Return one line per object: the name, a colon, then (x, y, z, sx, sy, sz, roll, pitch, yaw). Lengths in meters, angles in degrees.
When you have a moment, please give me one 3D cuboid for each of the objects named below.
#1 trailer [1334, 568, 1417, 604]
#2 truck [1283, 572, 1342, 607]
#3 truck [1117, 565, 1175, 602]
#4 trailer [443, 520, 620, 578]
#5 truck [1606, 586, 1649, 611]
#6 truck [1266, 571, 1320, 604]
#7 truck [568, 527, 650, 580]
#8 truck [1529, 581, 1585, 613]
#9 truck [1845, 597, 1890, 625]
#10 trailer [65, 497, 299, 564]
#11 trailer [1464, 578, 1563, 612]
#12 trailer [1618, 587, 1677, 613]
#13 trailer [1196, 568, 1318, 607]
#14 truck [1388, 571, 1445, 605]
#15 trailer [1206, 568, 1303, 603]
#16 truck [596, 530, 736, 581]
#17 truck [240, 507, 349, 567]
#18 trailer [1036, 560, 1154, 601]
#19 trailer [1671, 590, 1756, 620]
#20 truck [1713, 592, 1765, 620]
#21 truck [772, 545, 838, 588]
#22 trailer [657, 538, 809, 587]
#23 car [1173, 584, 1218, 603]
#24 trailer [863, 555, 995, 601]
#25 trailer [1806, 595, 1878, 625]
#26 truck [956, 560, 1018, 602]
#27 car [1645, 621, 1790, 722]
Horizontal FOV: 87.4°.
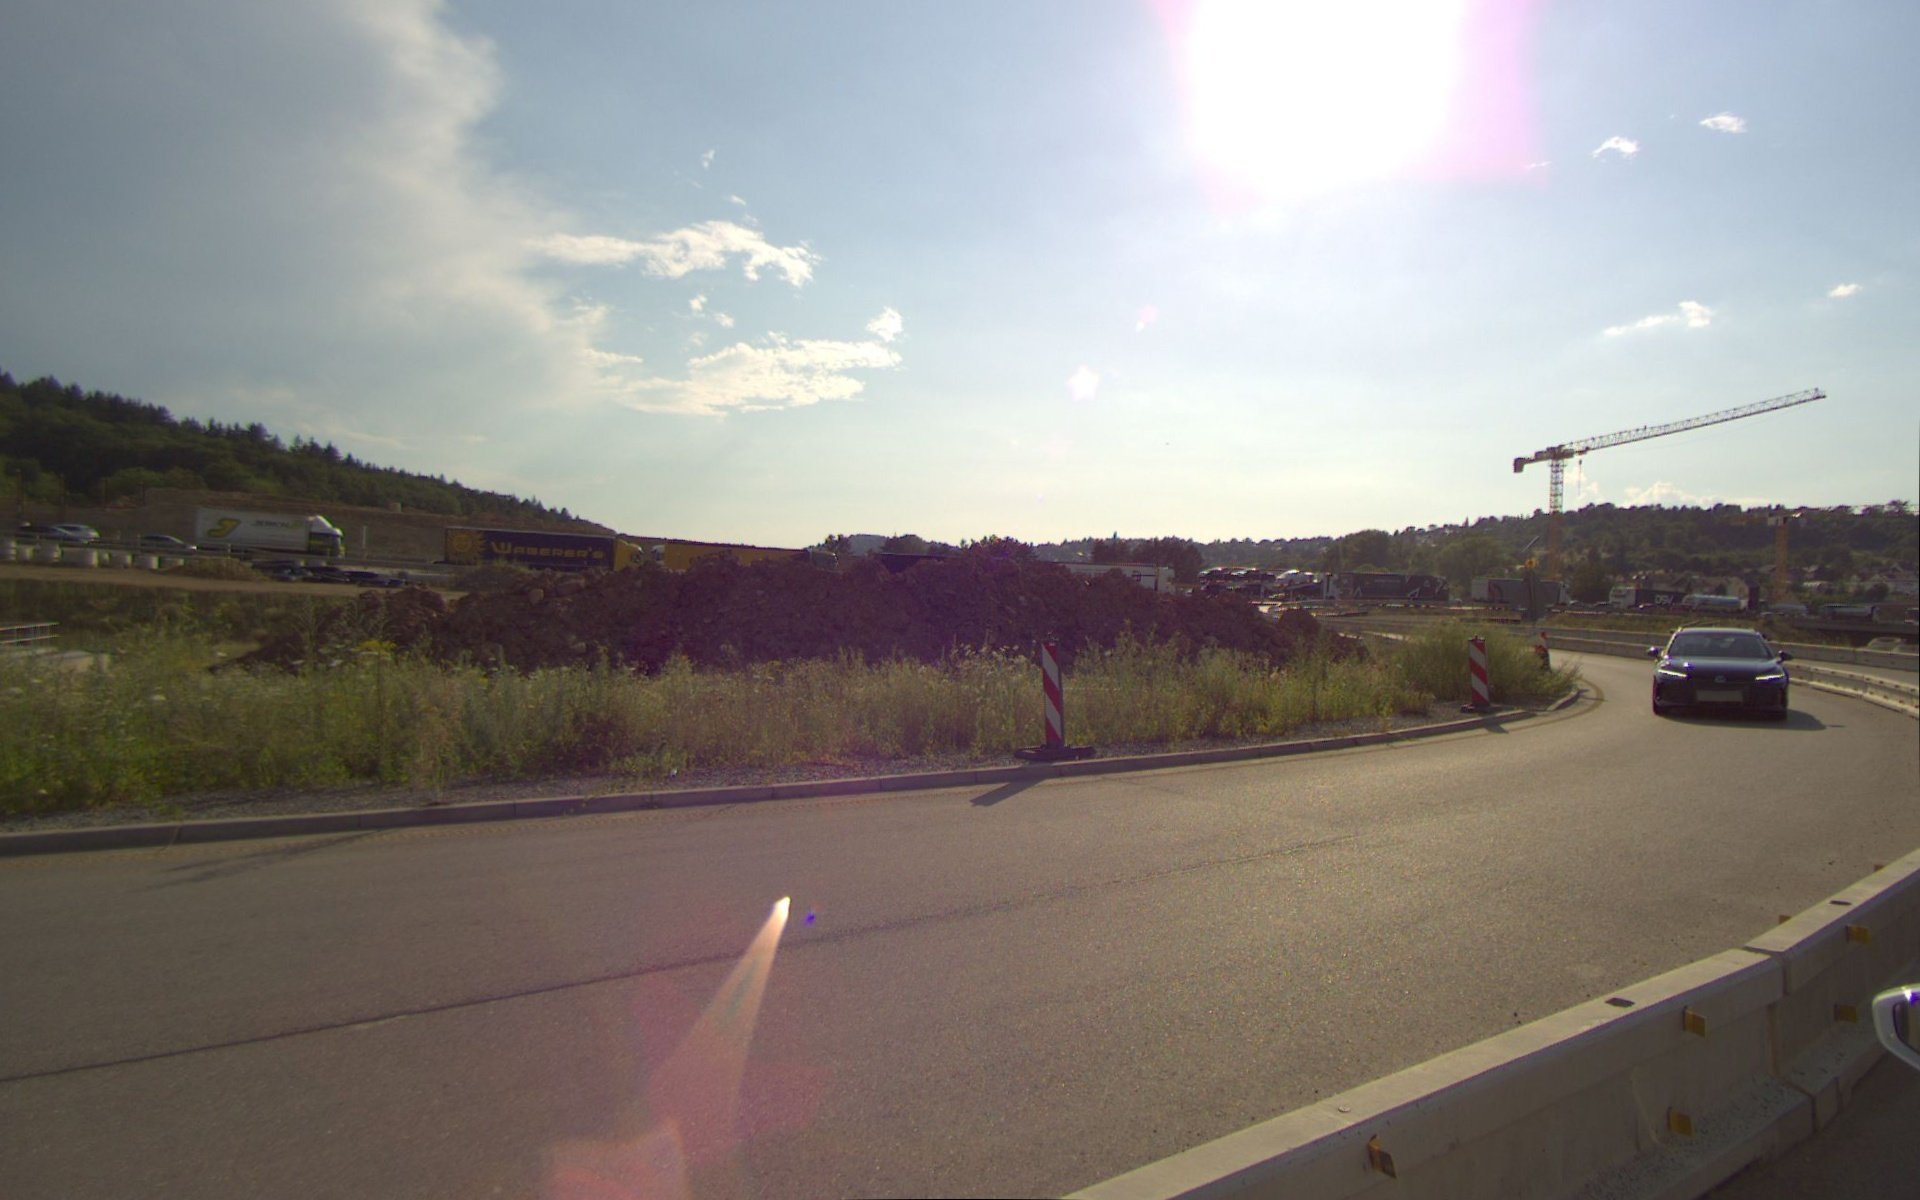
trailer: (52.519, -1.713, 126.905, 10.635, 4.146, 2.953, 2, 1, -22)
truck: (43.164, -1.270, 123.030, 6.530, 4.050, 2.842, 2, 1, -23)
truck: (20.971, -1.902, 113.511, 5.926, 3.930, 2.474, 2, 2, -23)
trailer: (-37.538, -4.399, 88.757, 14.045, 4.371, 3.097, 2, 0, -22)
truck: (105.625, -0.215, 158.858, 5.606, 3.777, 2.990, 2, 0, -22)
truck: (44.623, -1.687, 134.597, 6.530, 4.050, 2.842, 2, 1, -23)
truck: (-31.857, -4.178, 91.070, 6.796, 4.371, 3.097, 2, 0, -22)
truck: (83.177, -0.415, 139.988, 6.530, 4.050, 3.335, 2, 1, -23)
truck: (153.138, 1.860, 169.500, 6.530, 4.343, 3.091, 2, 1, -23)
trailer: (-60.690, -5.321, 78.970, 14.045, 4.371, 3.097, 2, 0, -22)
trailer: (75.324, -0.659, 136.610, 14.535, 4.050, 3.377, 2, 1, -23)
trailer: (109.969, -0.049, 160.666, 9.430, 3.801, 3.001, 2, 0, -22)
trailer: (35.545, -1.472, 119.751, 15.521, 4.050, 2.850, 2, 1, -23)
truck: (58.863, -1.540, 129.473, 6.527, 4.050, 2.879, 2, 1, -22)
trailer: (38.794, -1.865, 132.163, 13.284, 4.050, 2.850, 2, 1, -23)
truck: (-29.354, -4.338, 100.436, 12.993, 4.470, 3.551, 2, 0, -24)
truck: (-53.970, -5.077, 81.699, 6.796, 4.371, 3.097, 2, 0, -22)
trailer: (15.009, -2.103, 110.897, 13.438, 3.930, 2.474, 2, 2, -23)
trailer: (115.044, 0.766, 153.347, 14.535, 4.050, 3.377, 2, 1, -23)
truck: (120.867, 0.951, 155.845, 6.530, 4.050, 3.382, 2, 1, -23)
truck: (-15.131, -3.250, 97.999, 5.925, 3.954, 2.475, 2, 2, -22)
trailer: (-21.486, -3.482, 95.366, 13.775, 4.012, 2.475, 2, 2, -23)
car: (28.486, -0.773, 121.445, 4.906, 2.008, 2.024, 1, 3, -22)
trailer: (-3.096, -2.242, 103.252, 13.432, 4.116, 2.475, 2, 2, -22)
trailer: (146.277, 1.652, 166.567, 14.049, 4.372, 3.096, 2, 1, -23)
truck: (2.828, -2.037, 105.605, 5.924, 4.115, 2.475, 2, 2, -22)
car: (13.390, 1.183, 17.981, 1.686, 1.539, 4.504, 0, -1, 32)
